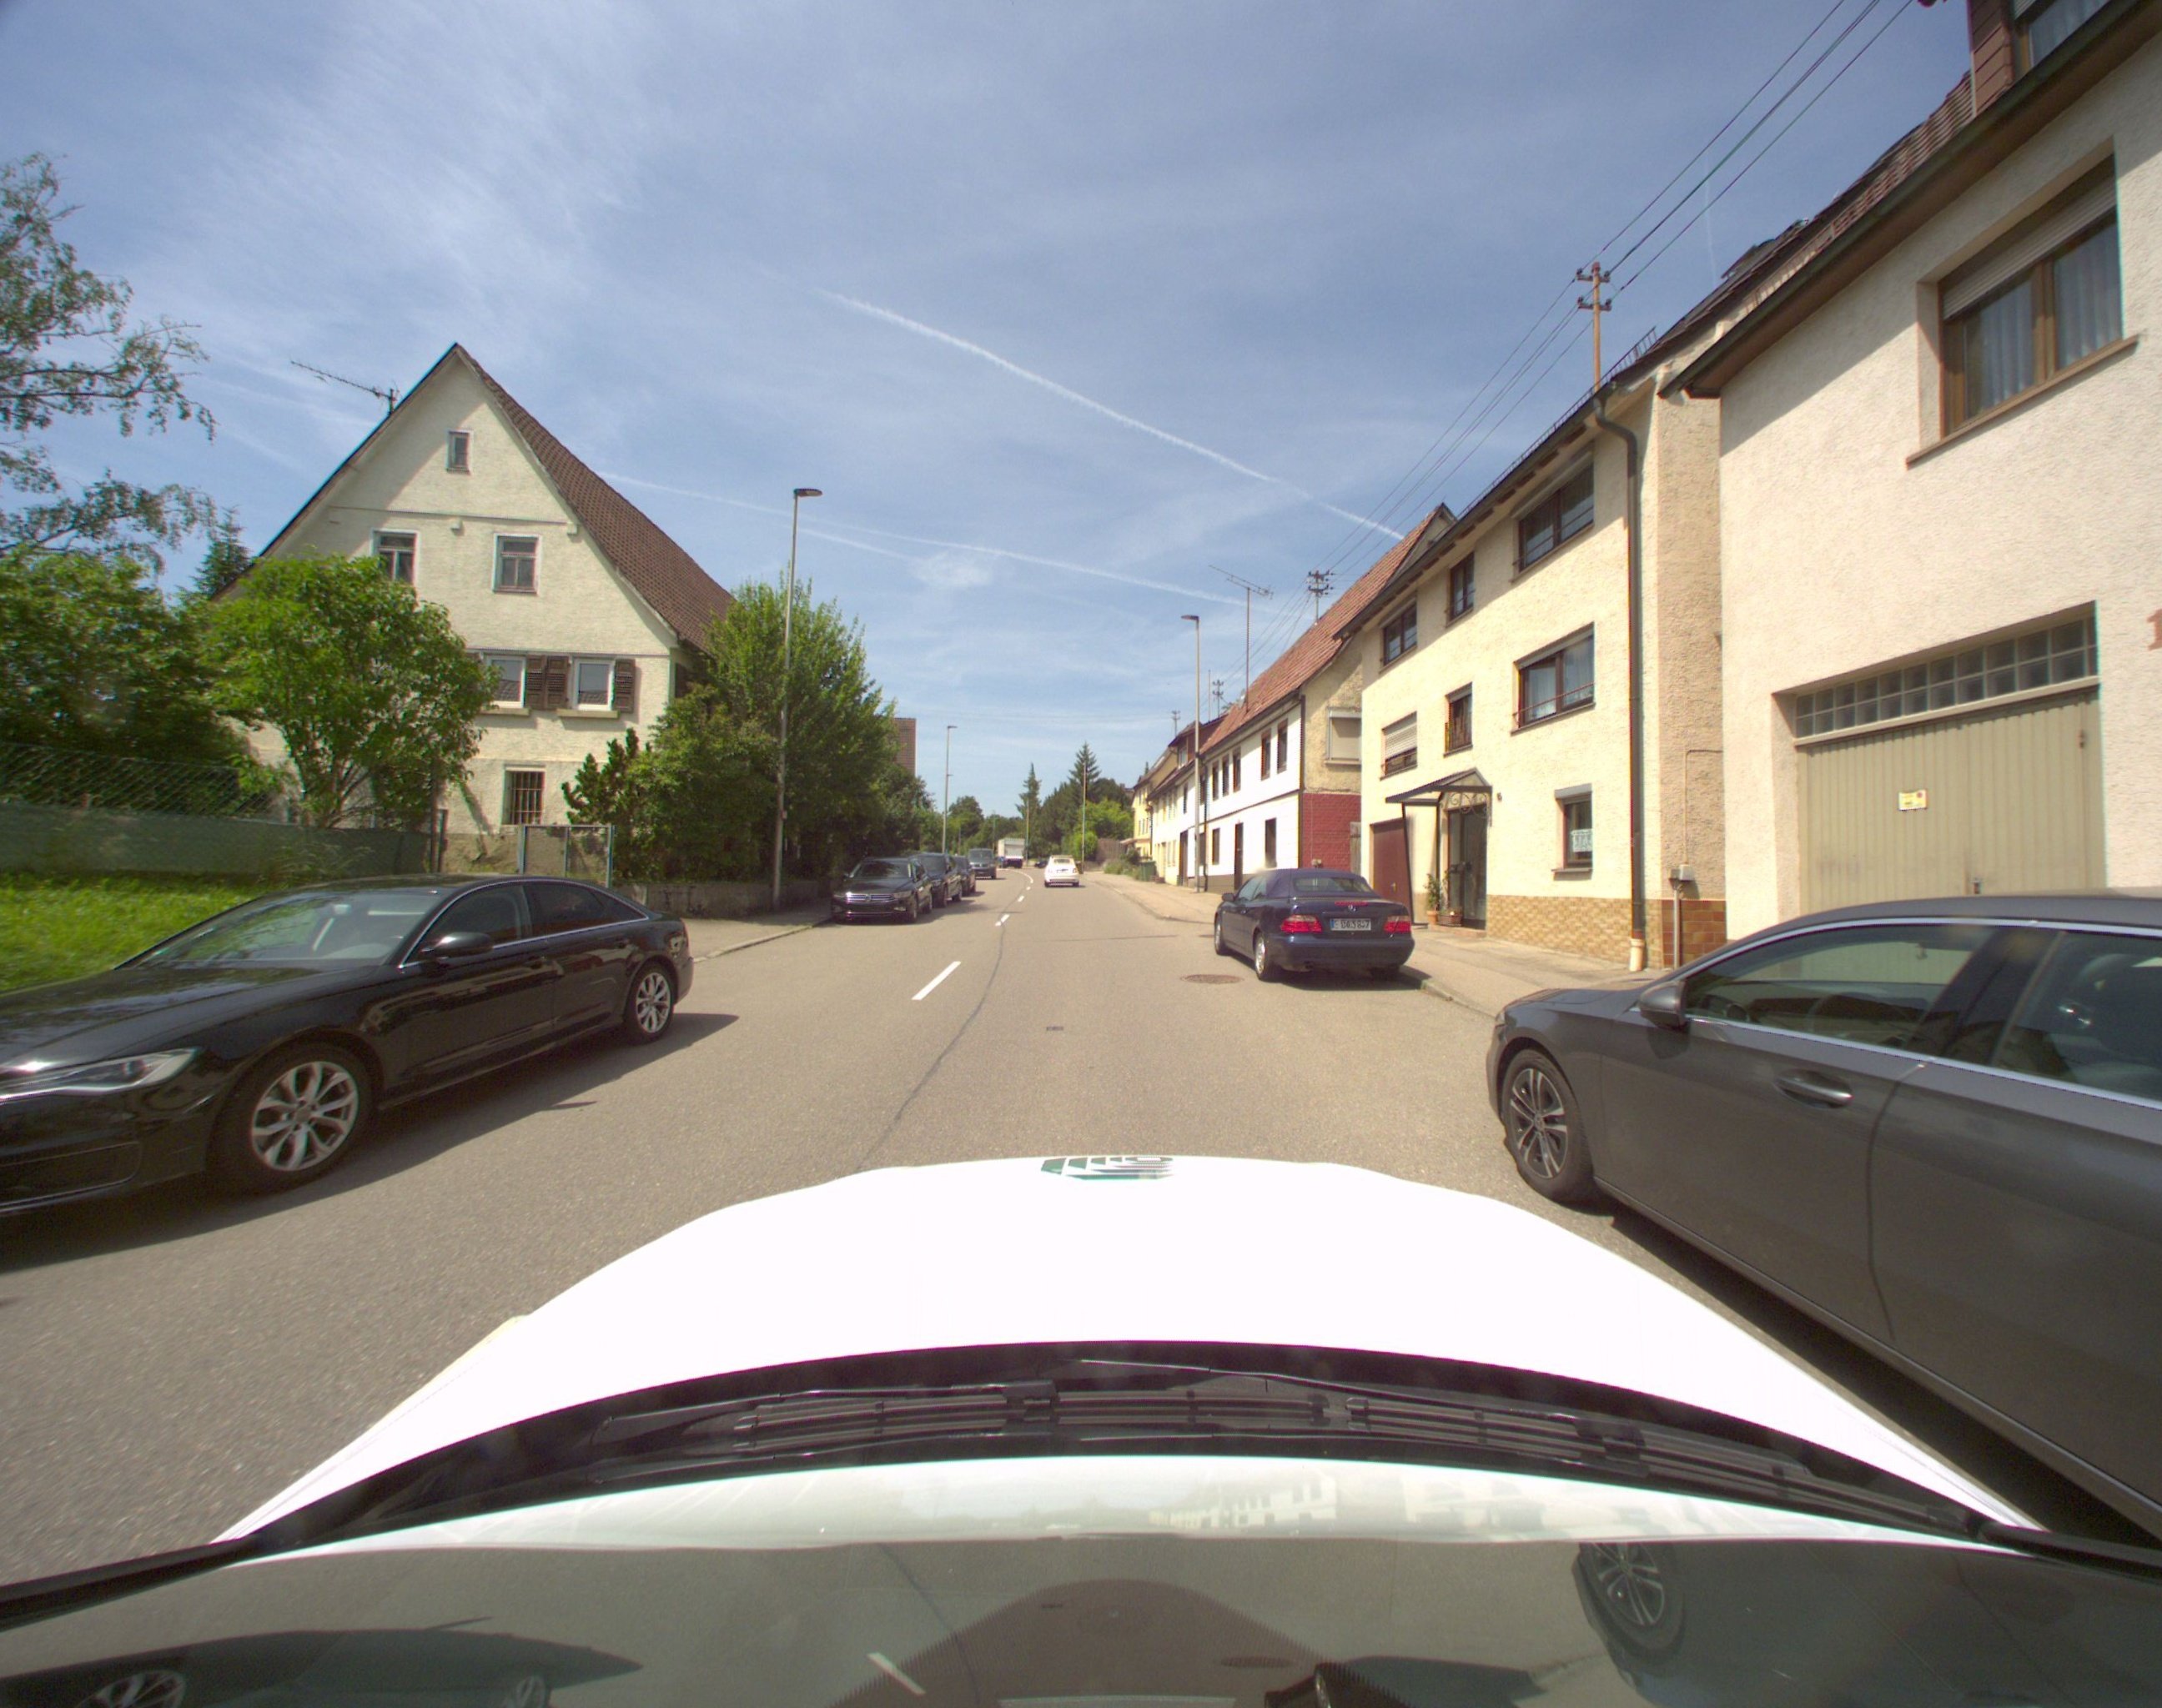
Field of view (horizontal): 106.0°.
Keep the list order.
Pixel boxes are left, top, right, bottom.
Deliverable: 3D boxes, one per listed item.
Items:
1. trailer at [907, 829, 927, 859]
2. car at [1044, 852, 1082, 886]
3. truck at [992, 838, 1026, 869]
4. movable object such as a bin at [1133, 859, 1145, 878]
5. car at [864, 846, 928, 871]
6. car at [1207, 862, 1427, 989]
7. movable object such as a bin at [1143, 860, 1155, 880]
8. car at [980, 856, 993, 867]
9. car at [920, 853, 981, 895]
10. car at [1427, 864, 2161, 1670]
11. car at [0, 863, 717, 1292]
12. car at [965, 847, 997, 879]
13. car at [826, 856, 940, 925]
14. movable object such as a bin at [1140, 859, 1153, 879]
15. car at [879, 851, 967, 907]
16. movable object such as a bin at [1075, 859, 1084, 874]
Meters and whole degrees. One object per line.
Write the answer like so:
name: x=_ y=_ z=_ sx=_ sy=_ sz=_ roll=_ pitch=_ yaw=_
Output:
trailer: x=-16.302 y=-0.973 z=81.153 sx=1.712 sy=2.848 sz=6.152 roll=2 pitch=-1 yaw=-10
car: x=-0.924 y=0.725 z=39.939 sx=1.721 sy=1.560 sz=3.995 roll=0 pitch=-1 yaw=-3
truck: x=-9.149 y=-0.004 z=102.795 sx=3.073 sy=3.774 sz=7.829 roll=1 pitch=-1 yaw=-14
movable object such as a bin: x=3.183 y=0.811 z=44.754 sx=0.545 sy=1.033 sz=0.551 roll=-2 pitch=0 yaw=-4
car: x=-12.930 y=0.318 z=57.211 sx=4.231 sy=1.405 sz=1.814 roll=5 pitch=-1 yaw=-12
car: x=2.959 y=0.819 z=11.147 sx=1.661 sy=1.352 sz=4.183 roll=1 pitch=0 yaw=-2
movable object such as a bin: x=3.570 y=0.820 z=42.871 sx=0.545 sy=1.033 sz=0.551 roll=-2 pitch=0 yaw=-4
car: x=-15.835 y=1.326 z=136.502 sx=1.538 sy=1.670 sz=3.976 roll=3 pitch=-2 yaw=-17
car: x=-4.881 y=0.705 z=31.070 sx=1.815 sy=1.473 sz=4.770 roll=0 pitch=0 yaw=-3
car: x=2.837 y=0.757 z=2.422 sx=1.787 sy=1.403 sz=4.412 roll=0 pitch=0 yaw=1
car: x=-4.489 y=0.820 z=5.366 sx=1.797 sy=1.423 sz=4.931 roll=0 pitch=0 yaw=2
car: x=-6.395 y=0.558 z=52.236 sx=1.889 sy=1.937 sz=4.974 roll=0 pitch=-1 yaw=-7
car: x=-4.625 y=0.781 z=19.715 sx=1.784 sy=1.463 sz=4.708 roll=0 pitch=0 yaw=-2
movable object such as a bin: x=3.490 y=0.817 z=43.452 sx=0.545 sy=1.033 sz=0.551 roll=-2 pitch=0 yaw=-4
car: x=-4.692 y=0.697 z=24.718 sx=1.749 sy=1.521 sz=4.301 roll=1 pitch=0 yaw=1
movable object such as a bin: x=-0.122 y=0.916 z=60.569 sx=0.490 sy=1.033 sz=0.551 roll=-3 pitch=0 yaw=17
